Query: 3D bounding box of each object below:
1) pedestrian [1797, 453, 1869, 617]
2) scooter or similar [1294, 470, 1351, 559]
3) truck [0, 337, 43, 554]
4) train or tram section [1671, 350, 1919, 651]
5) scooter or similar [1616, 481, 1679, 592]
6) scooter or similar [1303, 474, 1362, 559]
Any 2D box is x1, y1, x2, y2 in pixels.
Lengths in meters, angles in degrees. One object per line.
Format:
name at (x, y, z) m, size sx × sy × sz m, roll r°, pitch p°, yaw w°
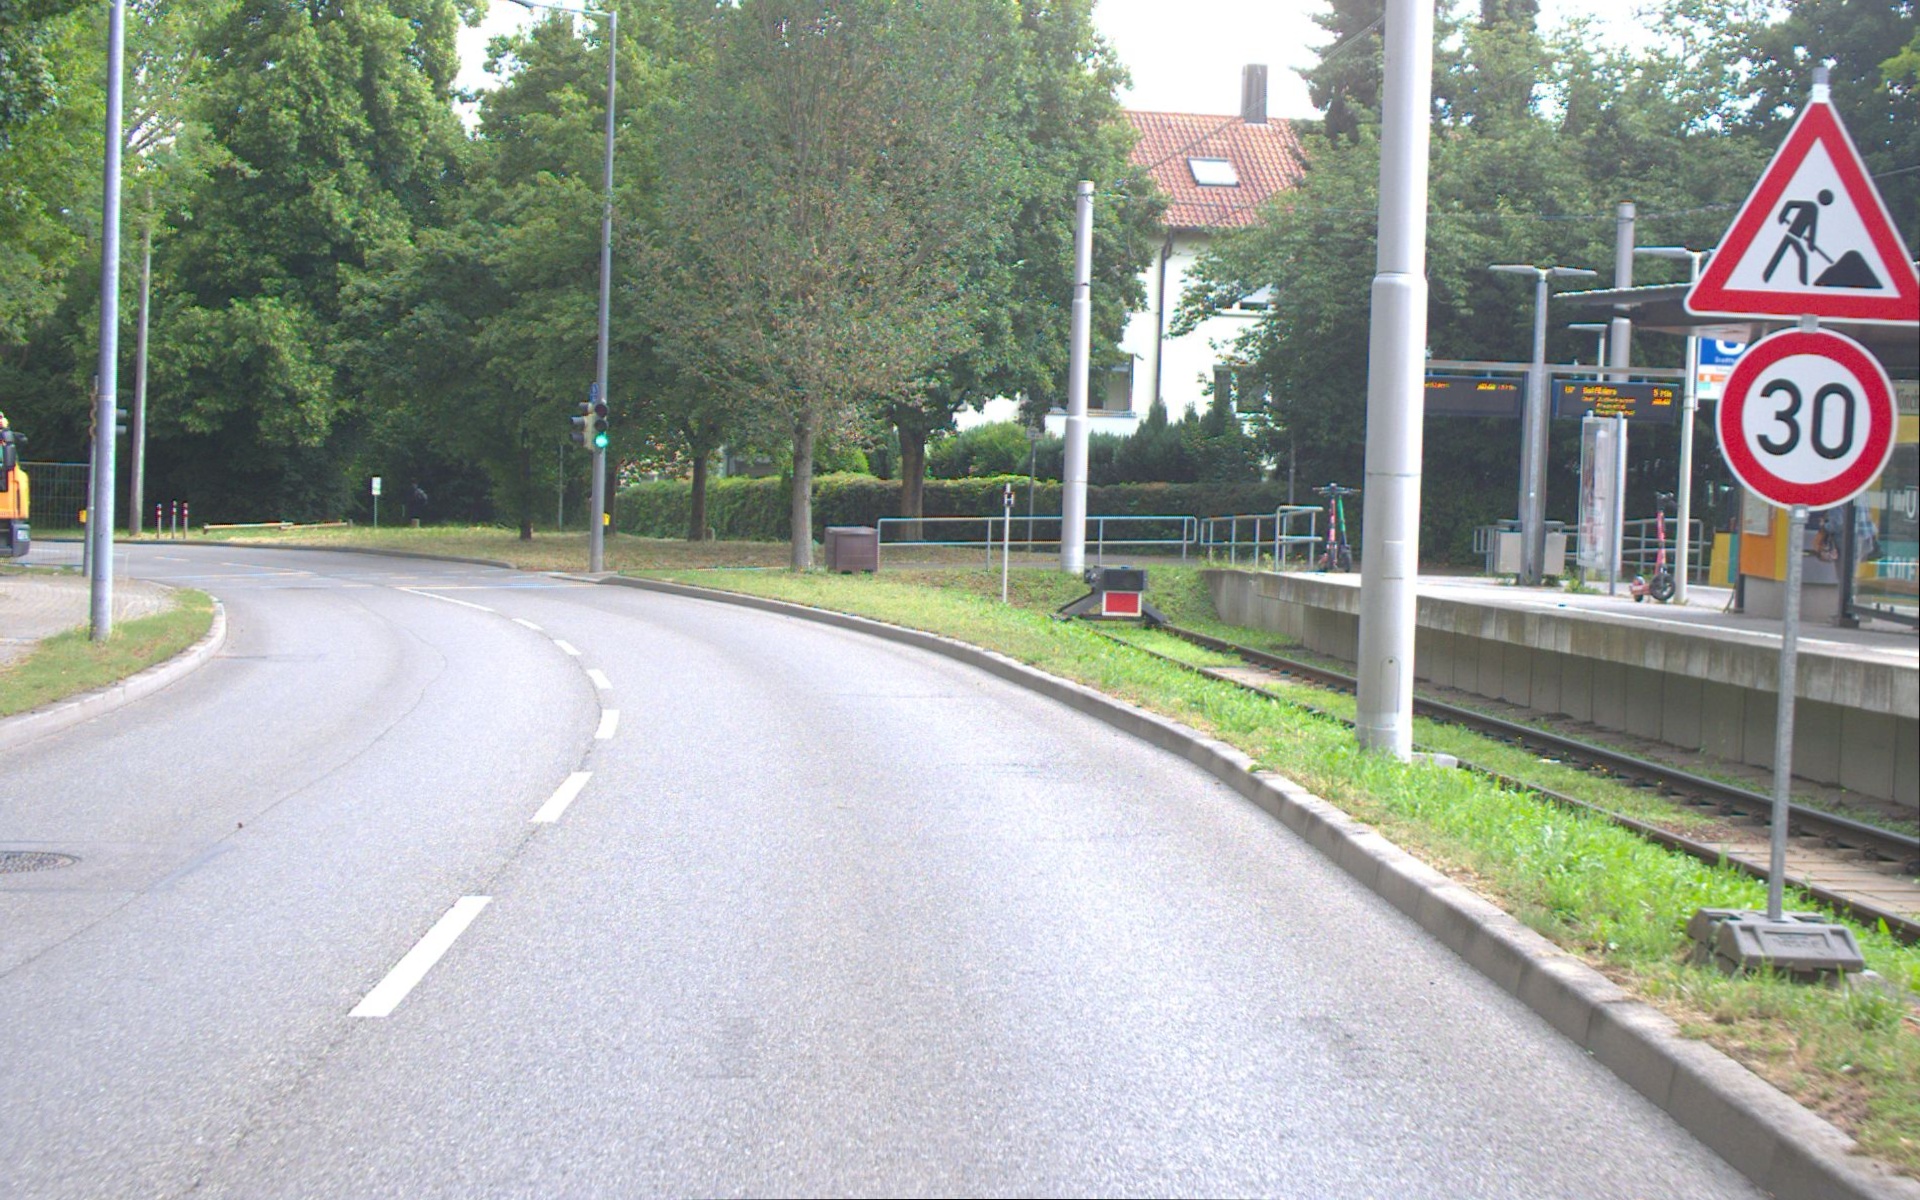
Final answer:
pedestrian at (8.528, -0.636, 33.606) m, size 0.623 × 1.567 × 0.665 m, roll 2°, pitch 1°, yaw 13°
scooter or similar at (5.207, -1.219, 49.443) m, size 0.429 × 1.249 × 1.255 m, roll 0°, pitch 0°, yaw -13°
truck at (-19.849, -2.634, 56.140) m, size 9.228 × 3.519 × 2.566 m, roll 1°, pitch 1°, yaw -18°
train or tram section at (12.796, -1.144, 41.426) m, size 2.813 × 3.576 × 19.519 m, roll 3°, pitch 2°, yaw -4°
scooter or similar at (7.874, -0.734, 39.426) m, size 0.368 × 1.238 × 1.146 m, roll 1°, pitch 2°, yaw -5°
scooter or similar at (5.588, -1.242, 51.624) m, size 0.429 × 1.249 × 1.255 m, roll 0°, pitch 0°, yaw -16°
